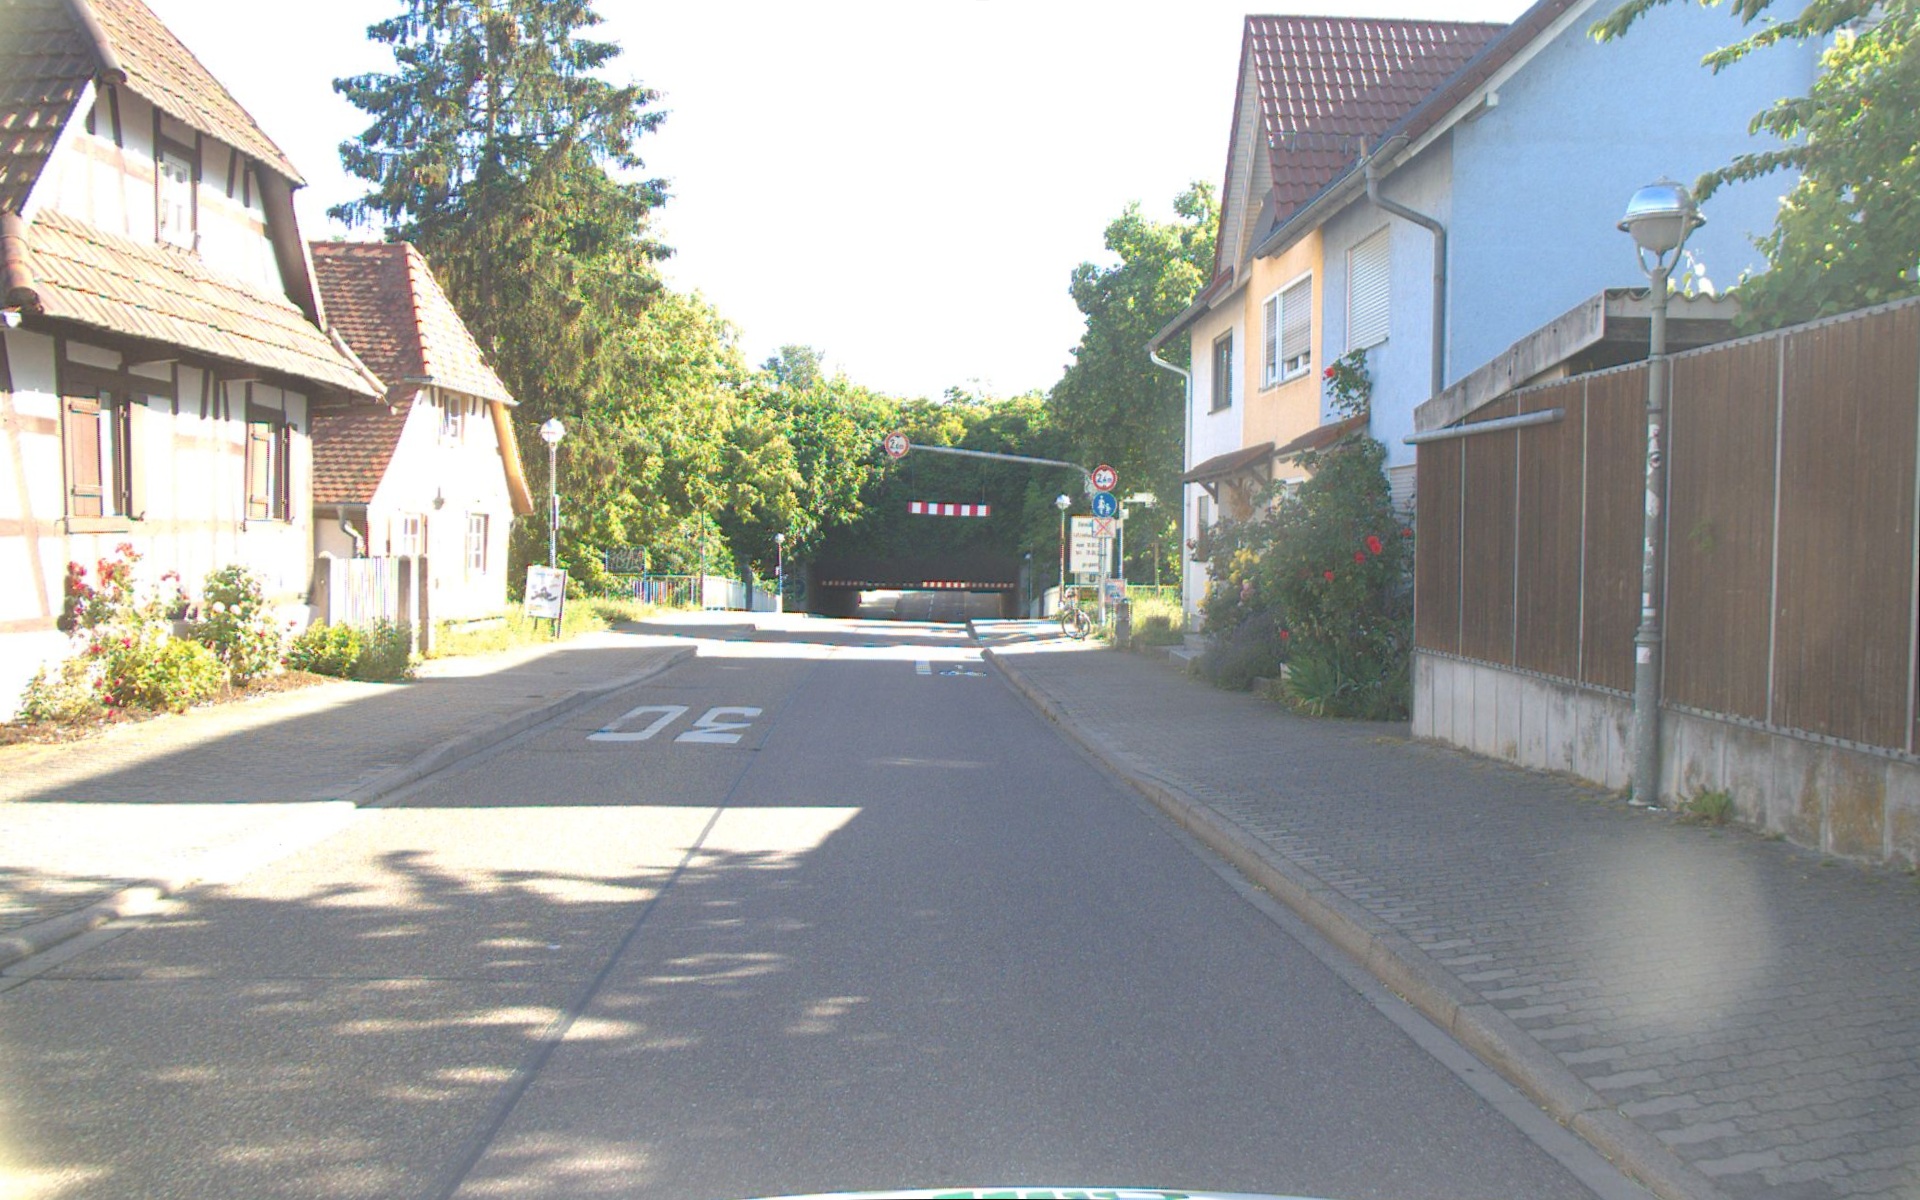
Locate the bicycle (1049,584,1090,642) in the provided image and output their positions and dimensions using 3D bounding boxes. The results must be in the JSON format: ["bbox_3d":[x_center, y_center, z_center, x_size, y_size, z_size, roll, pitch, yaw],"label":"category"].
[{"bbox_3d":[2.395,0.274,36.305,0.675,1.177,1.539,-3,1,-2],"label":"bicycle"}]
